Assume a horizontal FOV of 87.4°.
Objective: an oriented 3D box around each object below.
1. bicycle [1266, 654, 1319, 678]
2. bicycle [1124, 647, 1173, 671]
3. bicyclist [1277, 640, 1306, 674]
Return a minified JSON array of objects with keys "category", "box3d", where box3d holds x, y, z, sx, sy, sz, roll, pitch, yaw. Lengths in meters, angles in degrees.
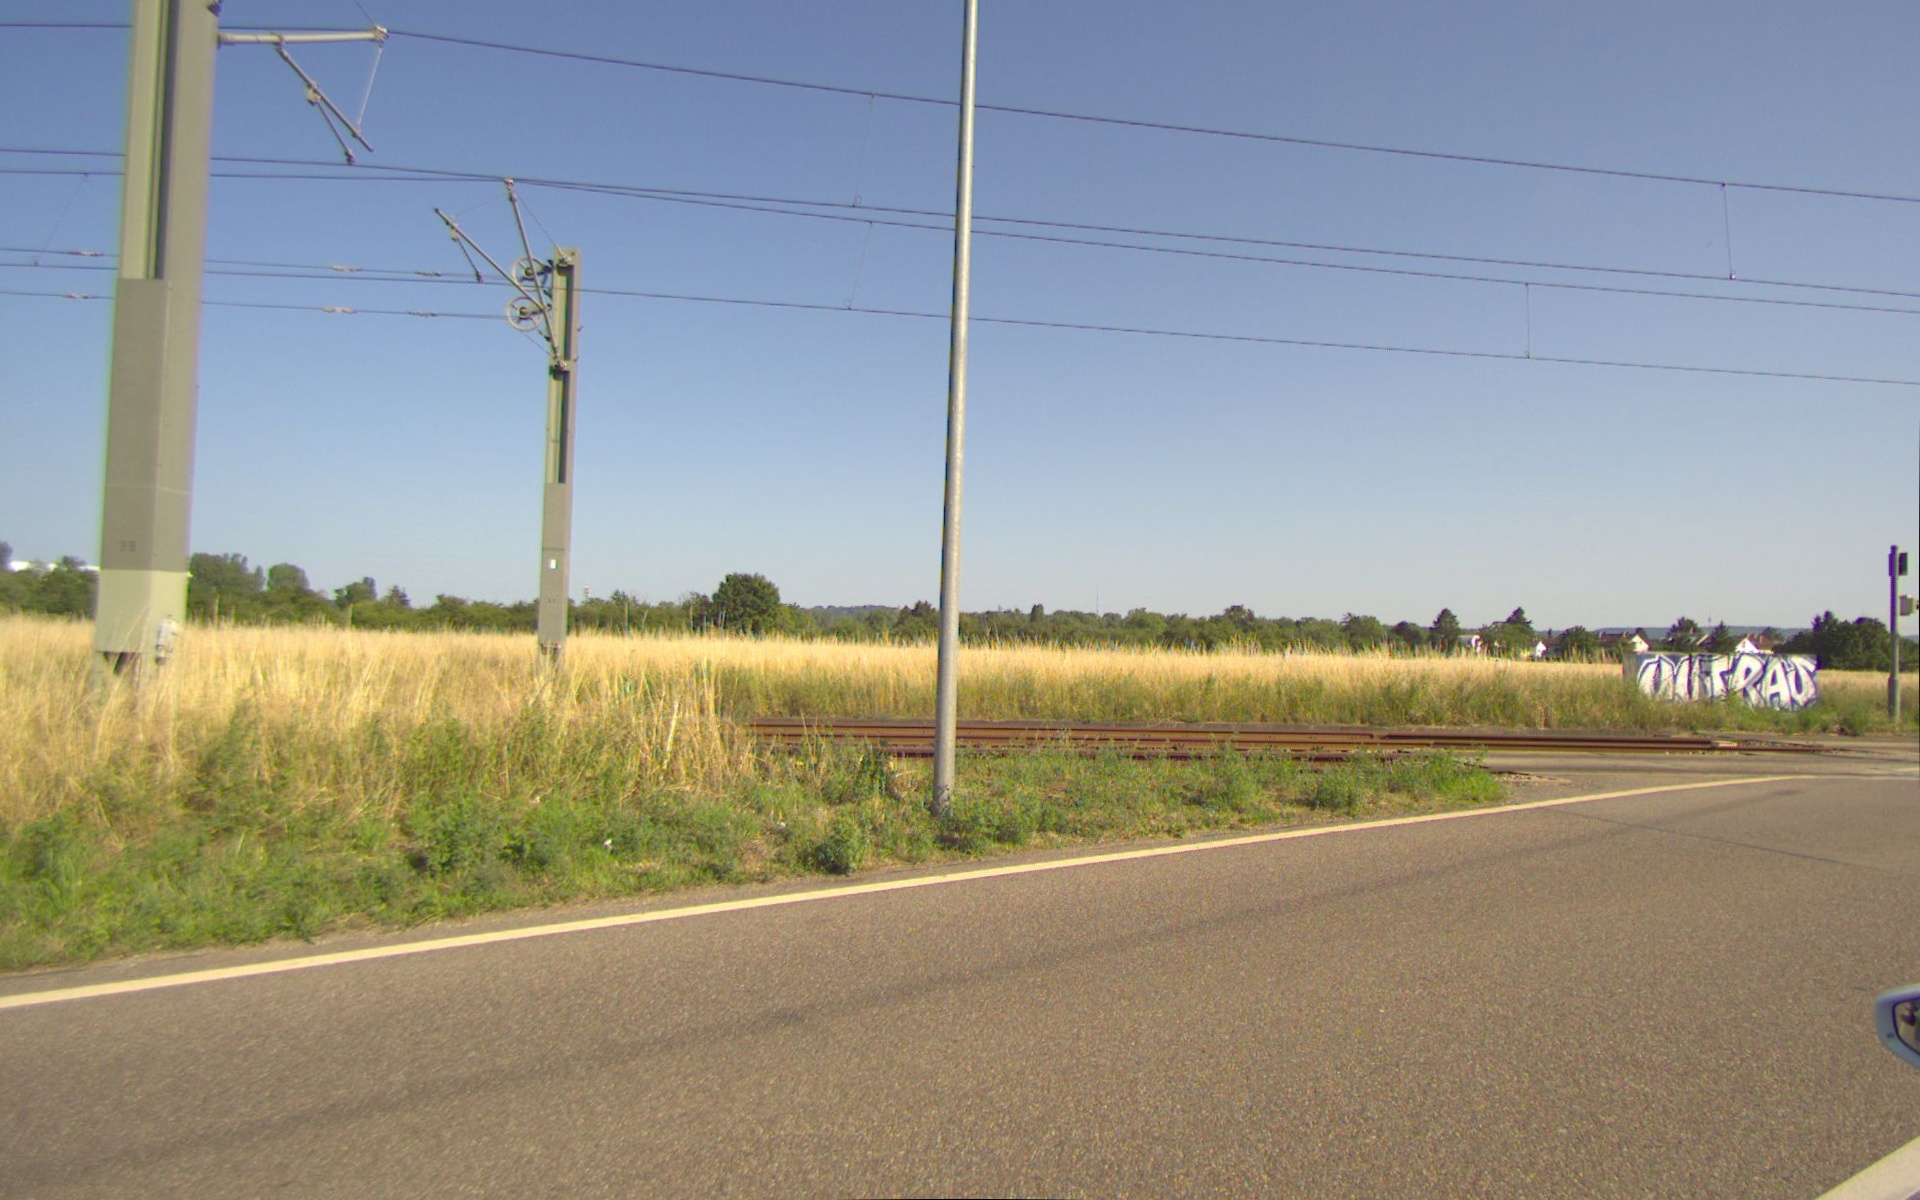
[{"category":"bicycle","box3d":[12.489,2.479,37.765,1.704,0.850,0.751,2,-1,-8]},{"category":"bicycle","box3d":[7.111,2.231,37.978,1.704,0.850,0.614,2,-1,-8]},{"category":"bicyclist","box3d":[12.465,2.135,37.775,0.775,1.221,0.747,2,-2,-9]}]
